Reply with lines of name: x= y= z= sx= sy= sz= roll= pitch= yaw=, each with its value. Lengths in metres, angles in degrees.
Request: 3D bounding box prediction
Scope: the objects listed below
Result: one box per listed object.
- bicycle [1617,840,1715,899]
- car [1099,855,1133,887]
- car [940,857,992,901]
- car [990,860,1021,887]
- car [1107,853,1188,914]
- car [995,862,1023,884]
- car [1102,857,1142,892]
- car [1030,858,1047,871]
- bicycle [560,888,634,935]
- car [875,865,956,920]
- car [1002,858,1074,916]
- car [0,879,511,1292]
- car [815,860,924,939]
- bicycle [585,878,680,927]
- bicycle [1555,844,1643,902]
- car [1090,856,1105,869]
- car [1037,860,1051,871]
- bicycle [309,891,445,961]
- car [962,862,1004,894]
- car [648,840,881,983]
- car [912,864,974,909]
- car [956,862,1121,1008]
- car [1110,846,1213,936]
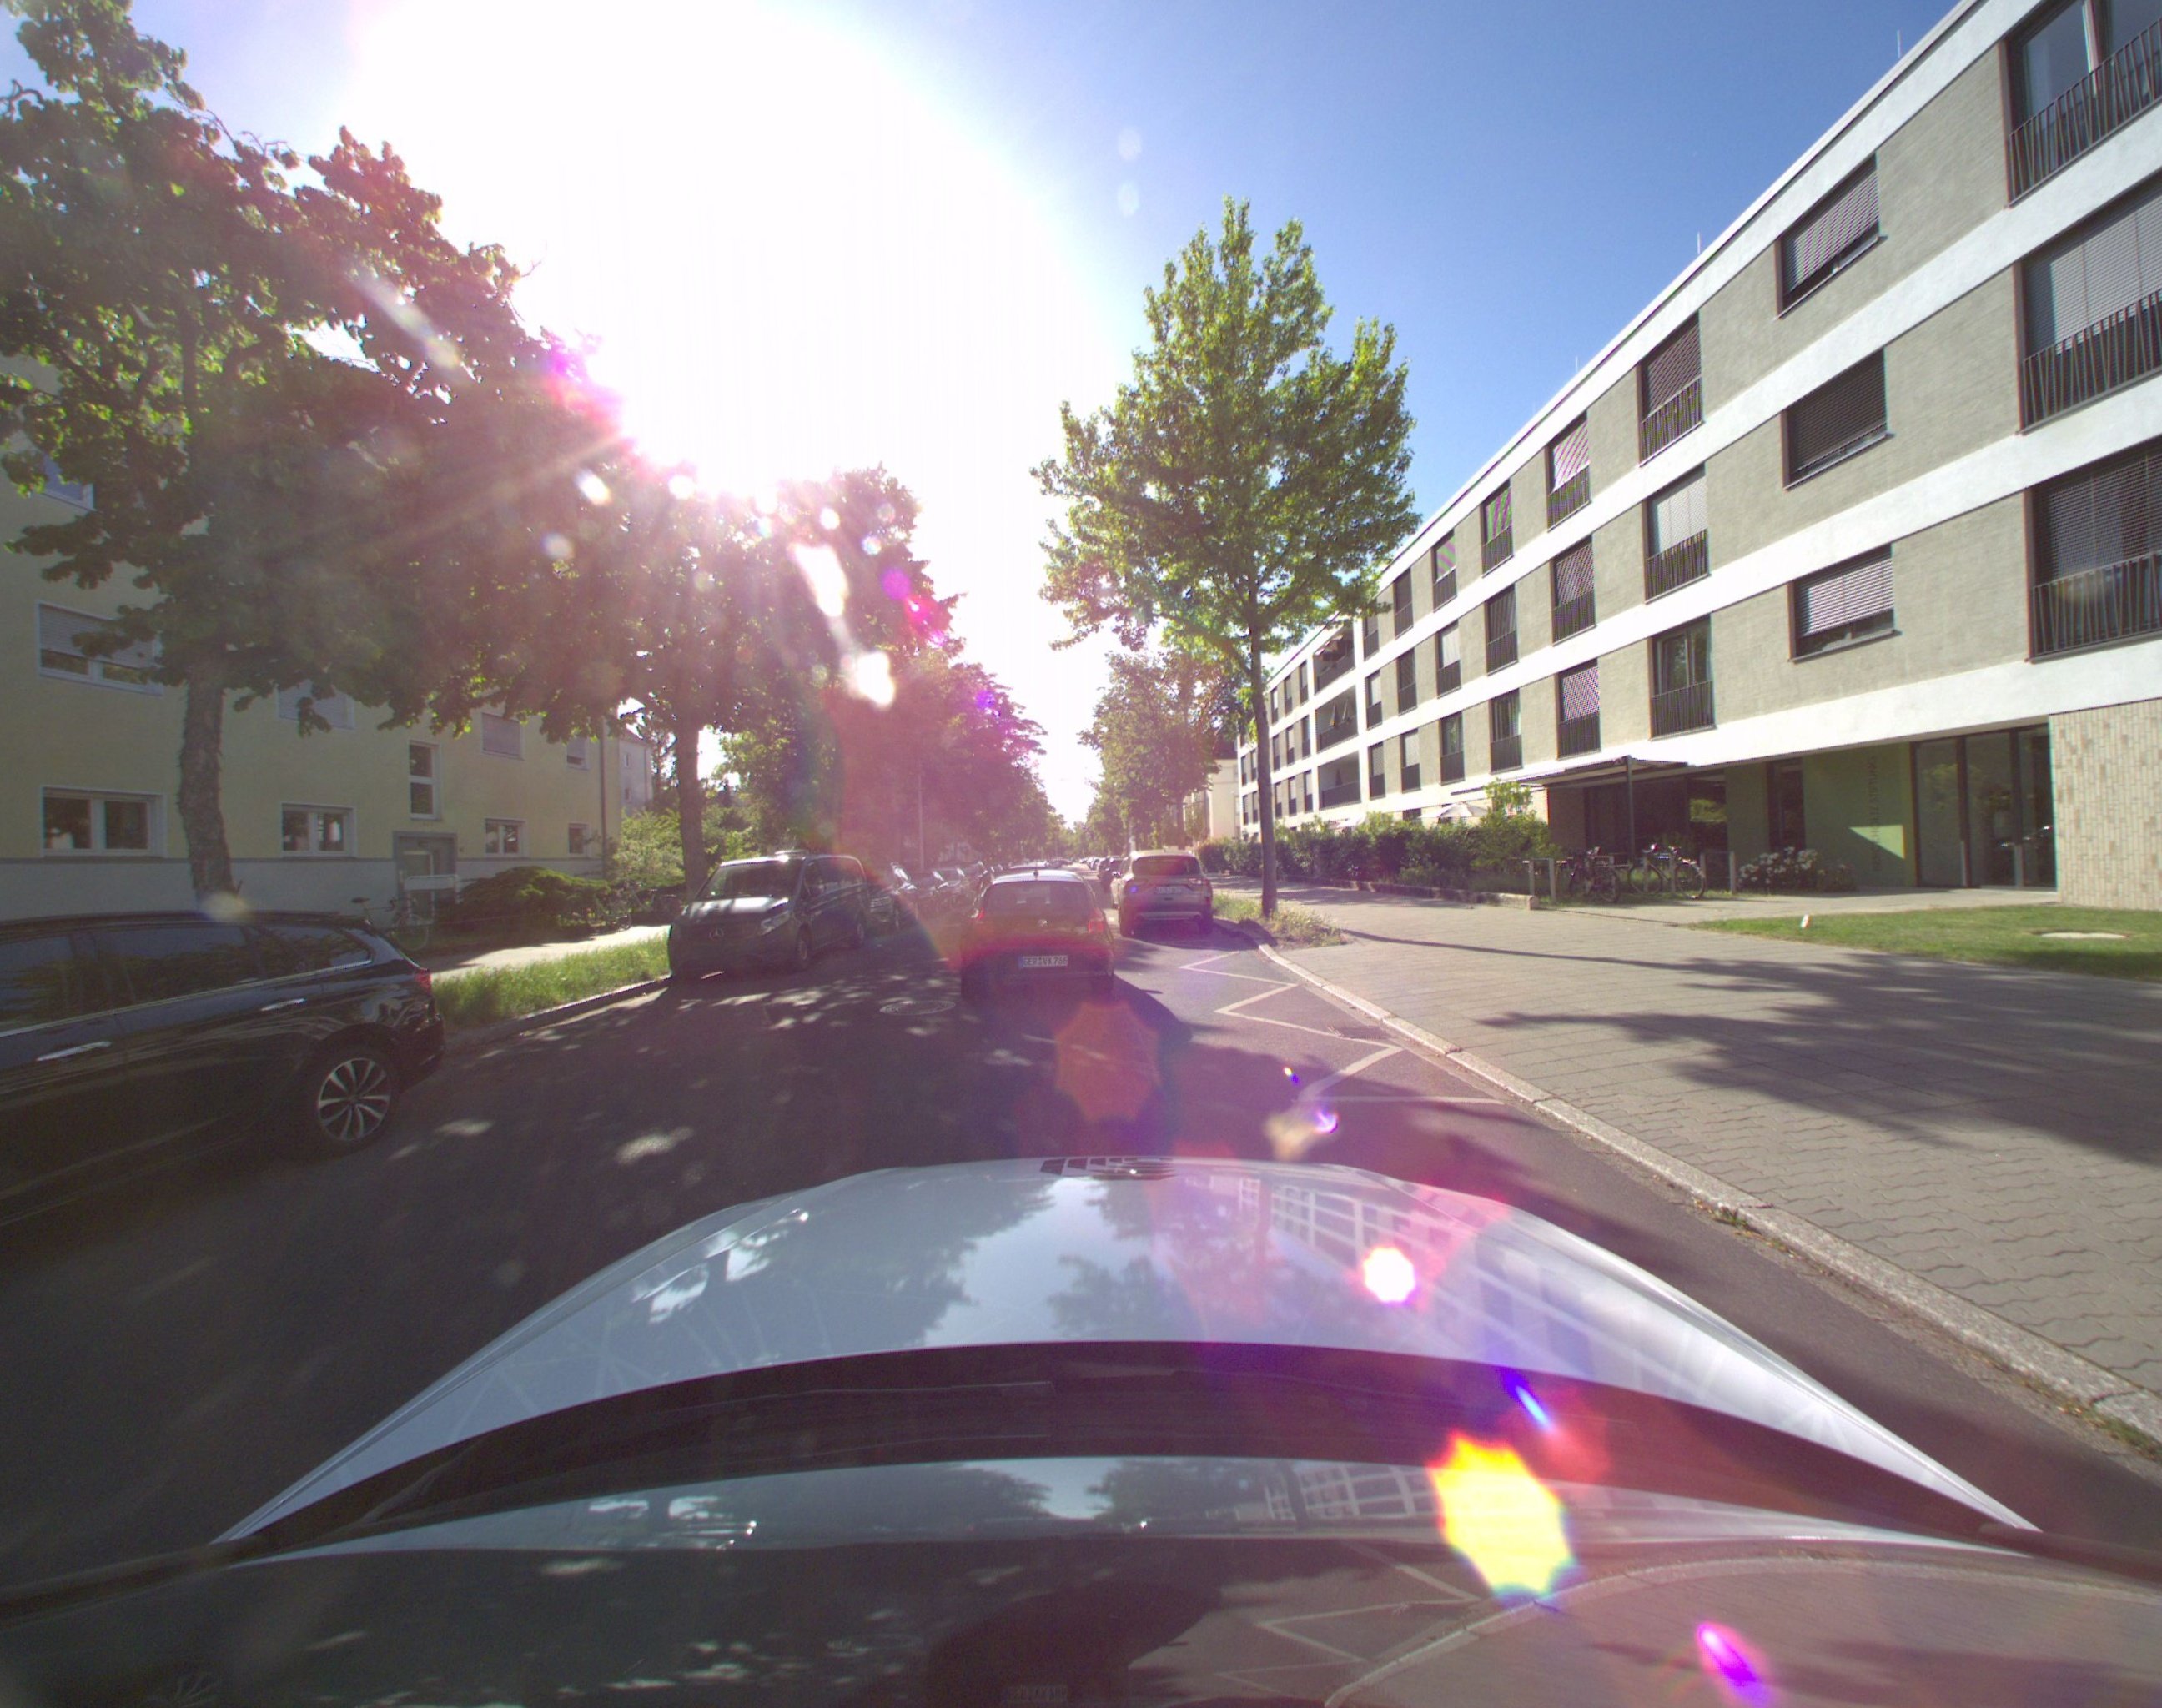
bicycle: x=11.491 y=0.296 z=16.065 sx=0.544 sy=1.055 sz=1.778 roll=-3 pitch=0 yaw=-3
car: x=1.842 y=0.861 z=43.464 sx=1.715 sy=1.641 sz=3.852 roll=0 pitch=0 yaw=1
car: x=-4.963 y=1.041 z=35.641 sx=1.607 sy=1.679 sz=4.232 roll=-3 pitch=0 yaw=-1
car: x=-4.878 y=1.243 z=52.864 sx=1.607 sy=1.543 sz=3.864 roll=-3 pitch=0 yaw=-1
car: x=1.779 y=0.777 z=23.023 sx=1.690 sy=1.524 sz=3.994 roll=-2 pitch=0 yaw=-4
car: x=-5.070 y=1.320 z=57.790 sx=1.607 sy=1.392 sz=3.864 roll=-3 pitch=0 yaw=-1
car: x=1.857 y=0.887 z=37.457 sx=1.715 sy=1.528 sz=4.001 roll=0 pitch=0 yaw=1
car: x=-4.776 y=1.182 z=91.952 sx=1.607 sy=1.392 sz=3.864 roll=-3 pitch=0 yaw=-1
bicycle: x=-11.733 y=1.370 z=19.798 sx=0.593 sy=0.991 sz=1.928 roll=-3 pitch=0 yaw=0
car: x=-5.003 y=1.117 z=25.106 sx=1.607 sy=1.427 sz=4.056 roll=-3 pitch=0 yaw=-1
car: x=-1.145 y=0.876 z=23.291 sx=1.643 sy=1.425 sz=4.002 roll=-3 pitch=0 yaw=2
car: x=-5.040 y=1.005 z=3.663 sx=1.503 sy=1.548 sz=4.777 roll=-5 pitch=0 yaw=0
car: x=-4.990 y=0.993 z=19.800 sx=1.608 sy=1.611 sz=4.226 roll=-3 pitch=0 yaw=-2
bicycle: x=-12.457 y=1.335 z=22.661 sx=2.146 sy=1.208 sz=0.687 roll=-3 pitch=0 yaw=-11
bicycle: x=10.133 y=0.359 z=16.009 sx=0.544 sy=1.055 sz=1.690 roll=-3 pitch=0 yaw=-3
car: x=2.015 y=1.049 z=98.658 sx=1.714 sy=1.480 sz=3.854 roll=-3 pitch=0 yaw=3
car: x=-4.770 y=1.505 z=106.201 sx=1.607 sy=1.392 sz=3.864 roll=-3 pitch=0 yaw=-1
bicycle: x=-11.888 y=1.188 z=13.838 sx=0.593 sy=0.991 sz=1.928 roll=-3 pitch=0 yaw=0
car: x=-4.937 y=1.183 z=41.342 sx=1.607 sy=1.452 sz=3.864 roll=-3 pitch=0 yaw=-1
car: x=-5.092 y=0.819 z=14.039 sx=1.820 sy=1.904 sz=5.142 roll=-4 pitch=0 yaw=1
car: x=-5.049 y=1.164 z=30.199 sx=1.607 sy=1.427 sz=3.724 roll=-3 pitch=0 yaw=-1
car: x=-0.670 y=0.845 z=10.119 sx=1.649 sy=1.397 sz=3.401 roll=-3 pitch=0 yaw=-9
car: x=1.577 y=0.714 z=17.328 sx=1.841 sy=1.631 sz=4.412 roll=-2 pitch=-1 yaw=2
